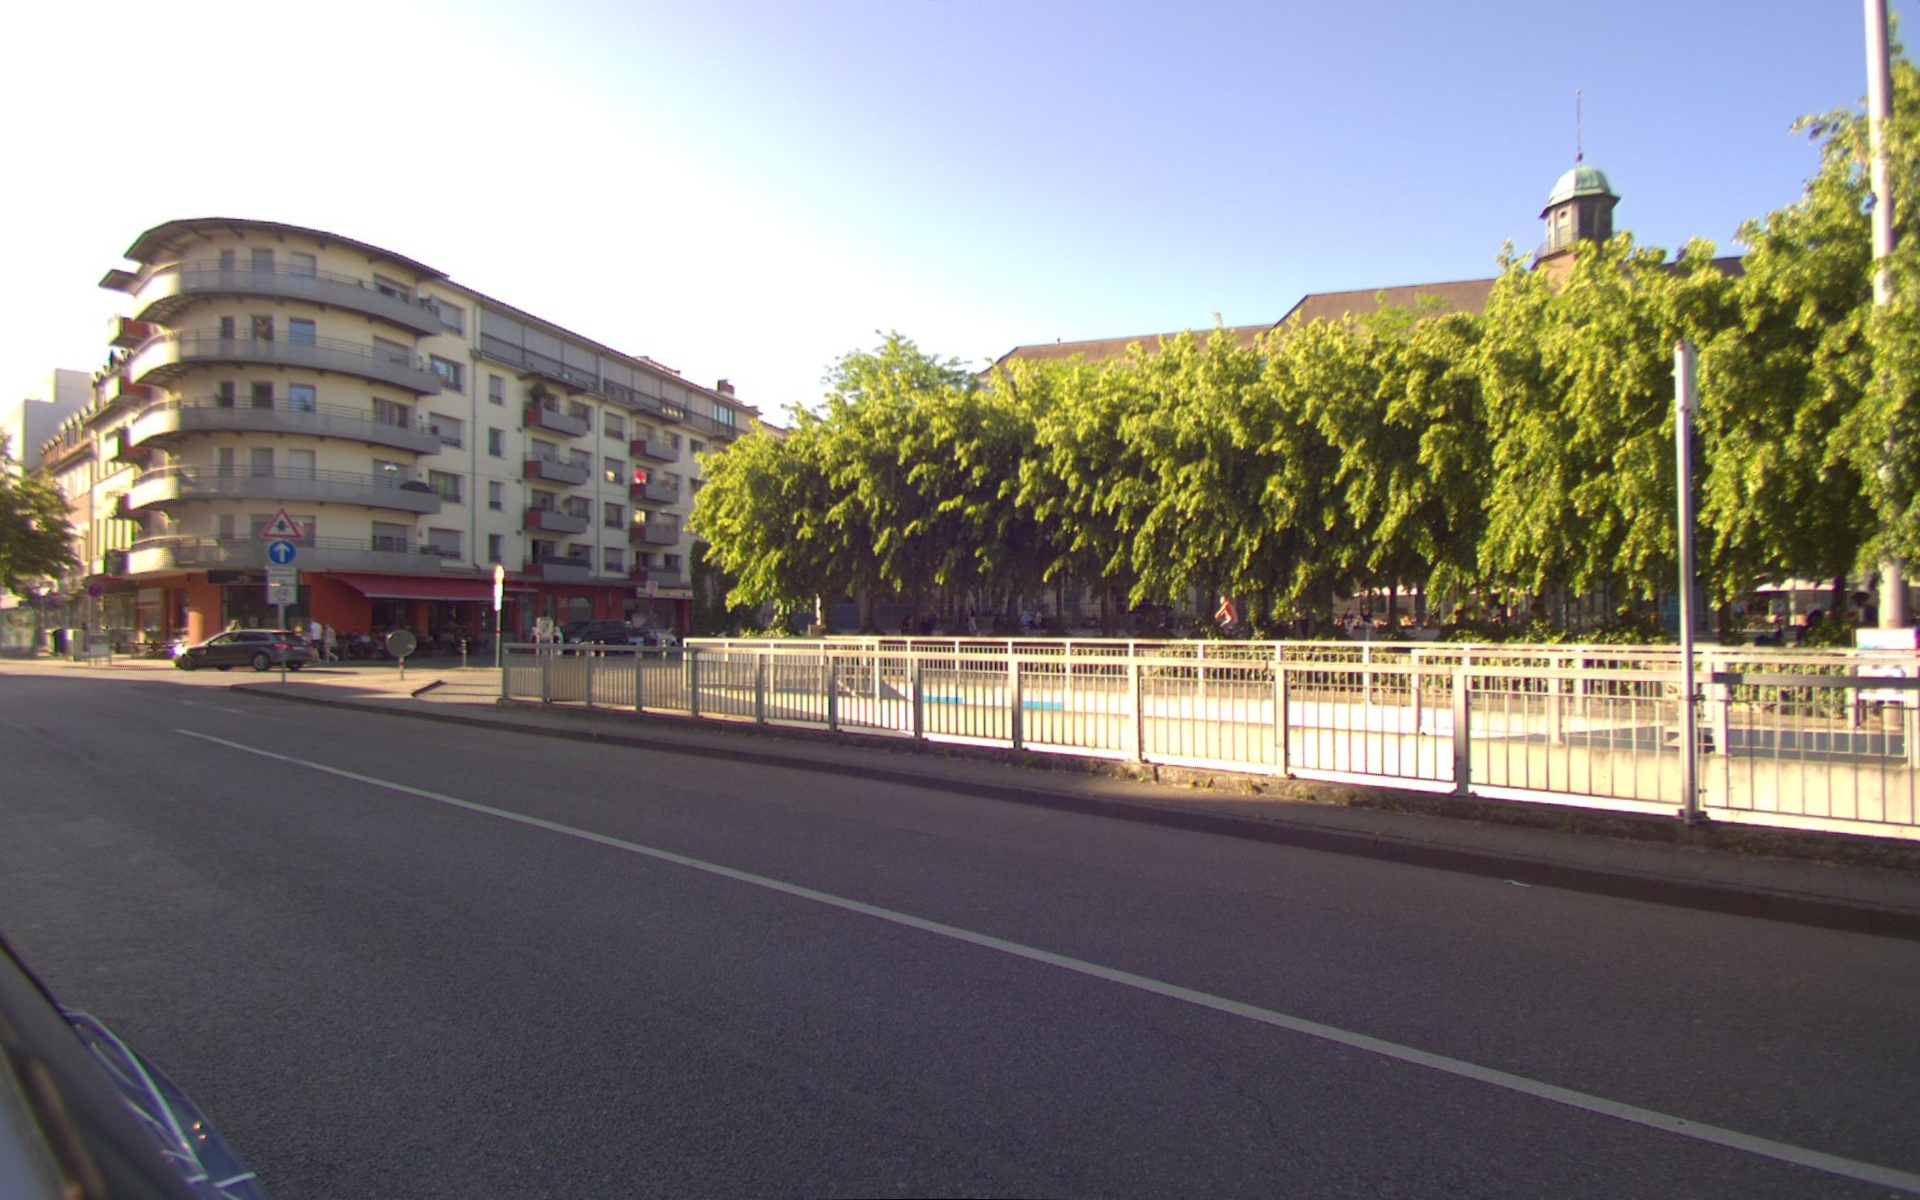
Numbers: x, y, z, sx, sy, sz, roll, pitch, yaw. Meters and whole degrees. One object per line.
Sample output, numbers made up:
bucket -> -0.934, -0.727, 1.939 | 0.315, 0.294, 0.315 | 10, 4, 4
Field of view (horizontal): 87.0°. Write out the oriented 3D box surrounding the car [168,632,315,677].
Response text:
car -> -24.536, 1.843, 34.650 | 3.876, 1.407, 1.805 | -1, -1, 4

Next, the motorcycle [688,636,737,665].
motorcycle -> -10.332, 2.100, 42.266 | 1.898, 1.110, 0.684 | 0, -1, -27

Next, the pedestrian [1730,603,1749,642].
pedestrian -> 36.634, 1.048, 47.545 | 0.599, 1.806, 0.576 | -1, -1, 31

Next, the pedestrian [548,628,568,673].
pedestrian -> -16.701, 2.094, 42.086 | 0.574, 1.806, 0.601 | -1, -1, 0

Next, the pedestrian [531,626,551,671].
pedestrian -> -17.154, 1.980, 41.428 | 0.574, 1.806, 0.602 | -1, -1, -4

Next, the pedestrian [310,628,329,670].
pedestrian -> -27.047, 2.066, 42.740 | 0.642, 1.721, 0.568 | -2, -2, 44

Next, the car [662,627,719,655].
car -> -17.372, 2.619, 65.366 | 1.776, 1.633, 3.914 | -1, -1, 17

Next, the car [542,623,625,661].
car -> -20.252, 2.227, 54.656 | 1.938, 1.927, 4.402 | -1, -1, 17

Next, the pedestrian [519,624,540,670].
pedestrian -> -17.333, 1.889, 40.750 | 0.574, 1.806, 0.602 | -1, -1, -4

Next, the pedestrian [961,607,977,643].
pedestrian -> 0.457, 1.268, 51.637 | 0.578, 1.806, 0.597 | -1, -1, 21

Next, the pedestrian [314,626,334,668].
pedestrian -> -26.548, 1.947, 42.230 | 0.642, 1.721, 0.568 | -2, -2, 44

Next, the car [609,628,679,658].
car -> -18.696, 2.508, 60.109 | 1.938, 1.633, 4.272 | -1, -1, 17
